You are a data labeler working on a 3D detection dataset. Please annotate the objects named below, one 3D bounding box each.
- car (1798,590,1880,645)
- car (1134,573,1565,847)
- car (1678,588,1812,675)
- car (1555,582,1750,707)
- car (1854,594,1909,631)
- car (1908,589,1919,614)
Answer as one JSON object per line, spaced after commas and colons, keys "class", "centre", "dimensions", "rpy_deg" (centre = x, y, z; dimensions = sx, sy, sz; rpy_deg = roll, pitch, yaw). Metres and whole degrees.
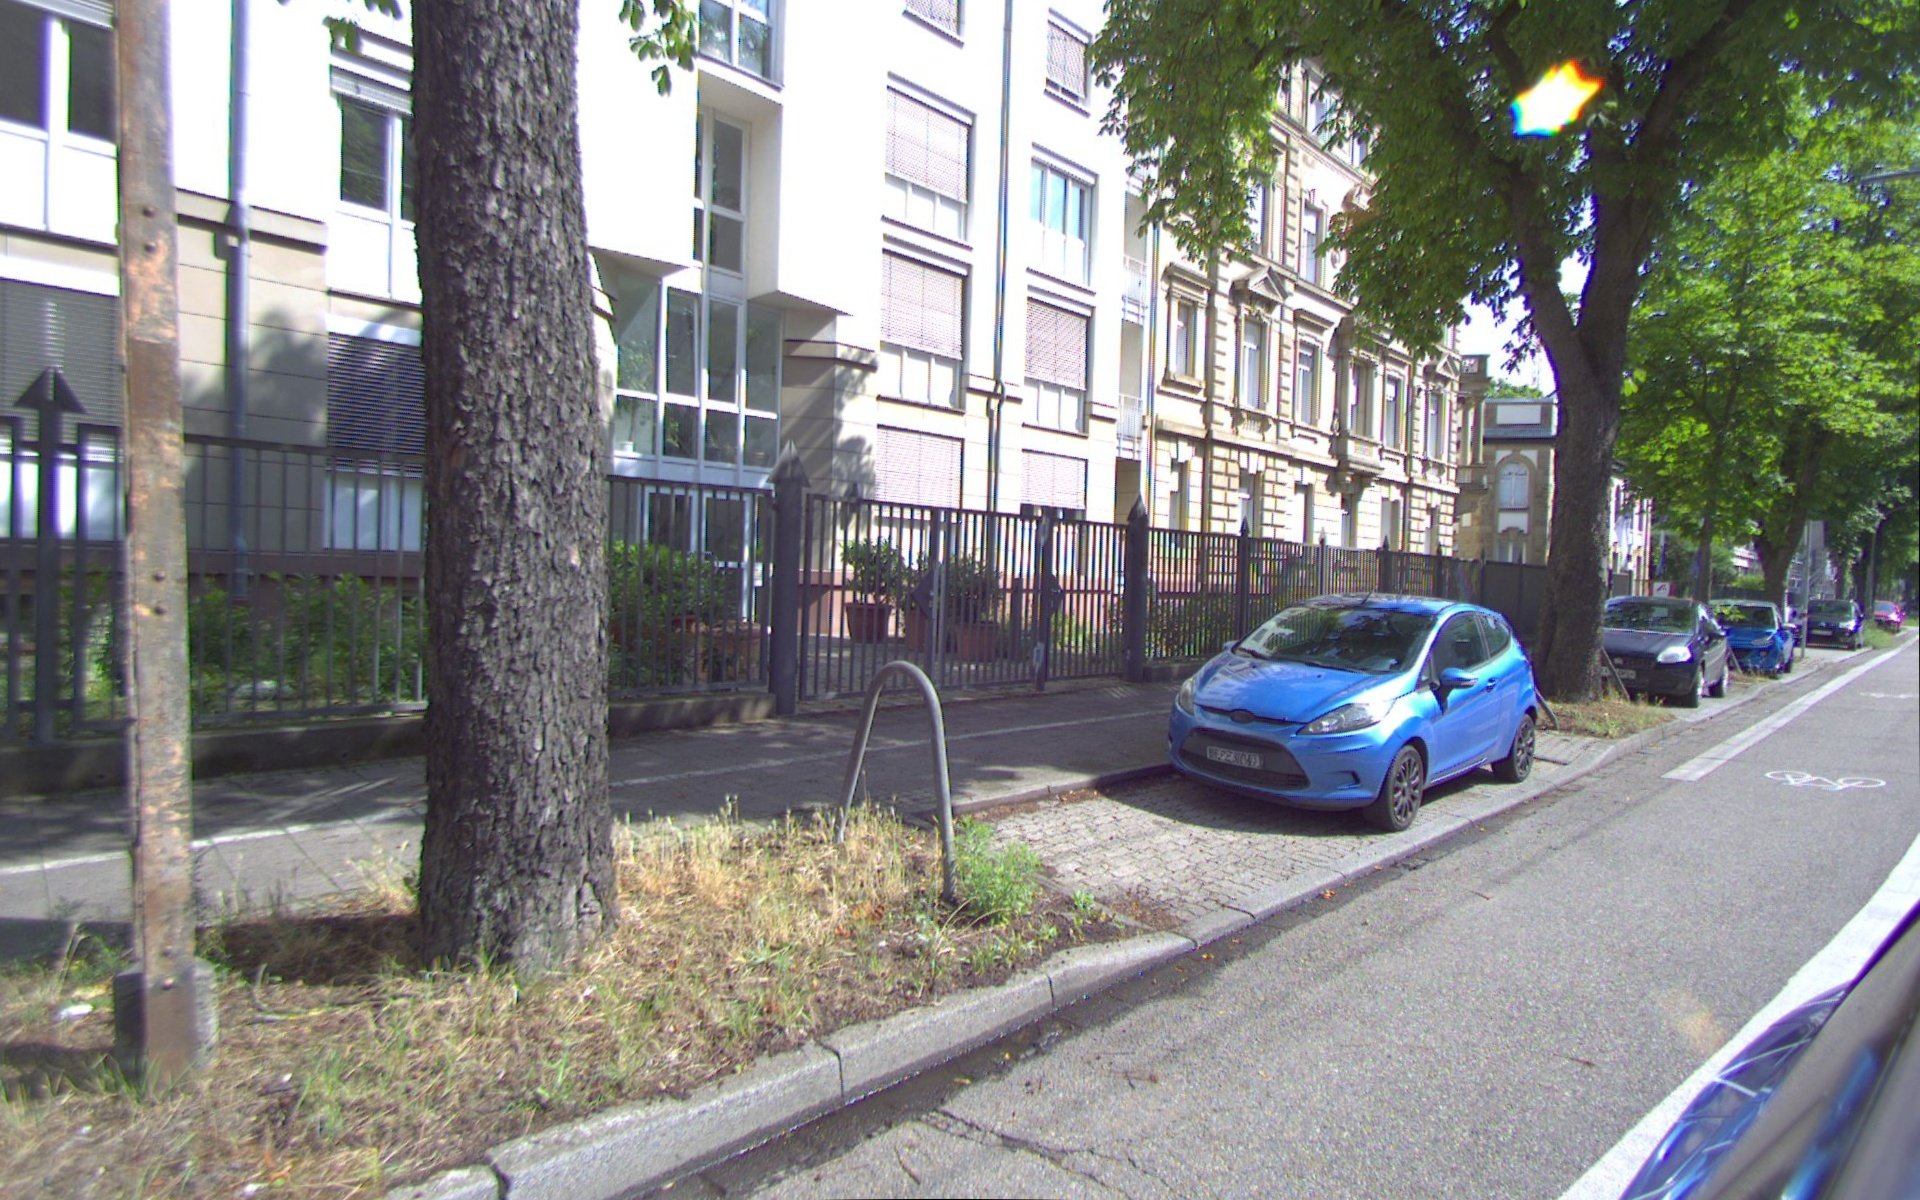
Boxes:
{"class": "car", "centre": [29.081, 0.541, 33.457], "dimensions": [1.741, 1.592, 3.602], "rpy_deg": [7, 5, 44]}
{"class": "car", "centre": [3.115, 0.626, 7.745], "dimensions": [3.601, 1.493, 1.645], "rpy_deg": [0, 5, -44]}
{"class": "car", "centre": [16.041, 0.573, 20.619], "dimensions": [1.676, 1.493, 3.602], "rpy_deg": [7, 5, 44]}
{"class": "car", "centre": [10.283, 0.556, 14.934], "dimensions": [1.676, 1.493, 3.602], "rpy_deg": [7, 5, 44]}
{"class": "car", "centre": [45.061, 0.568, 49.479], "dimensions": [1.741, 1.592, 3.867], "rpy_deg": [7, 5, 44]}
{"class": "car", "centre": [62.983, 0.136, 65.834], "dimensions": [1.741, 1.592, 3.867], "rpy_deg": [7, 5, 44]}
